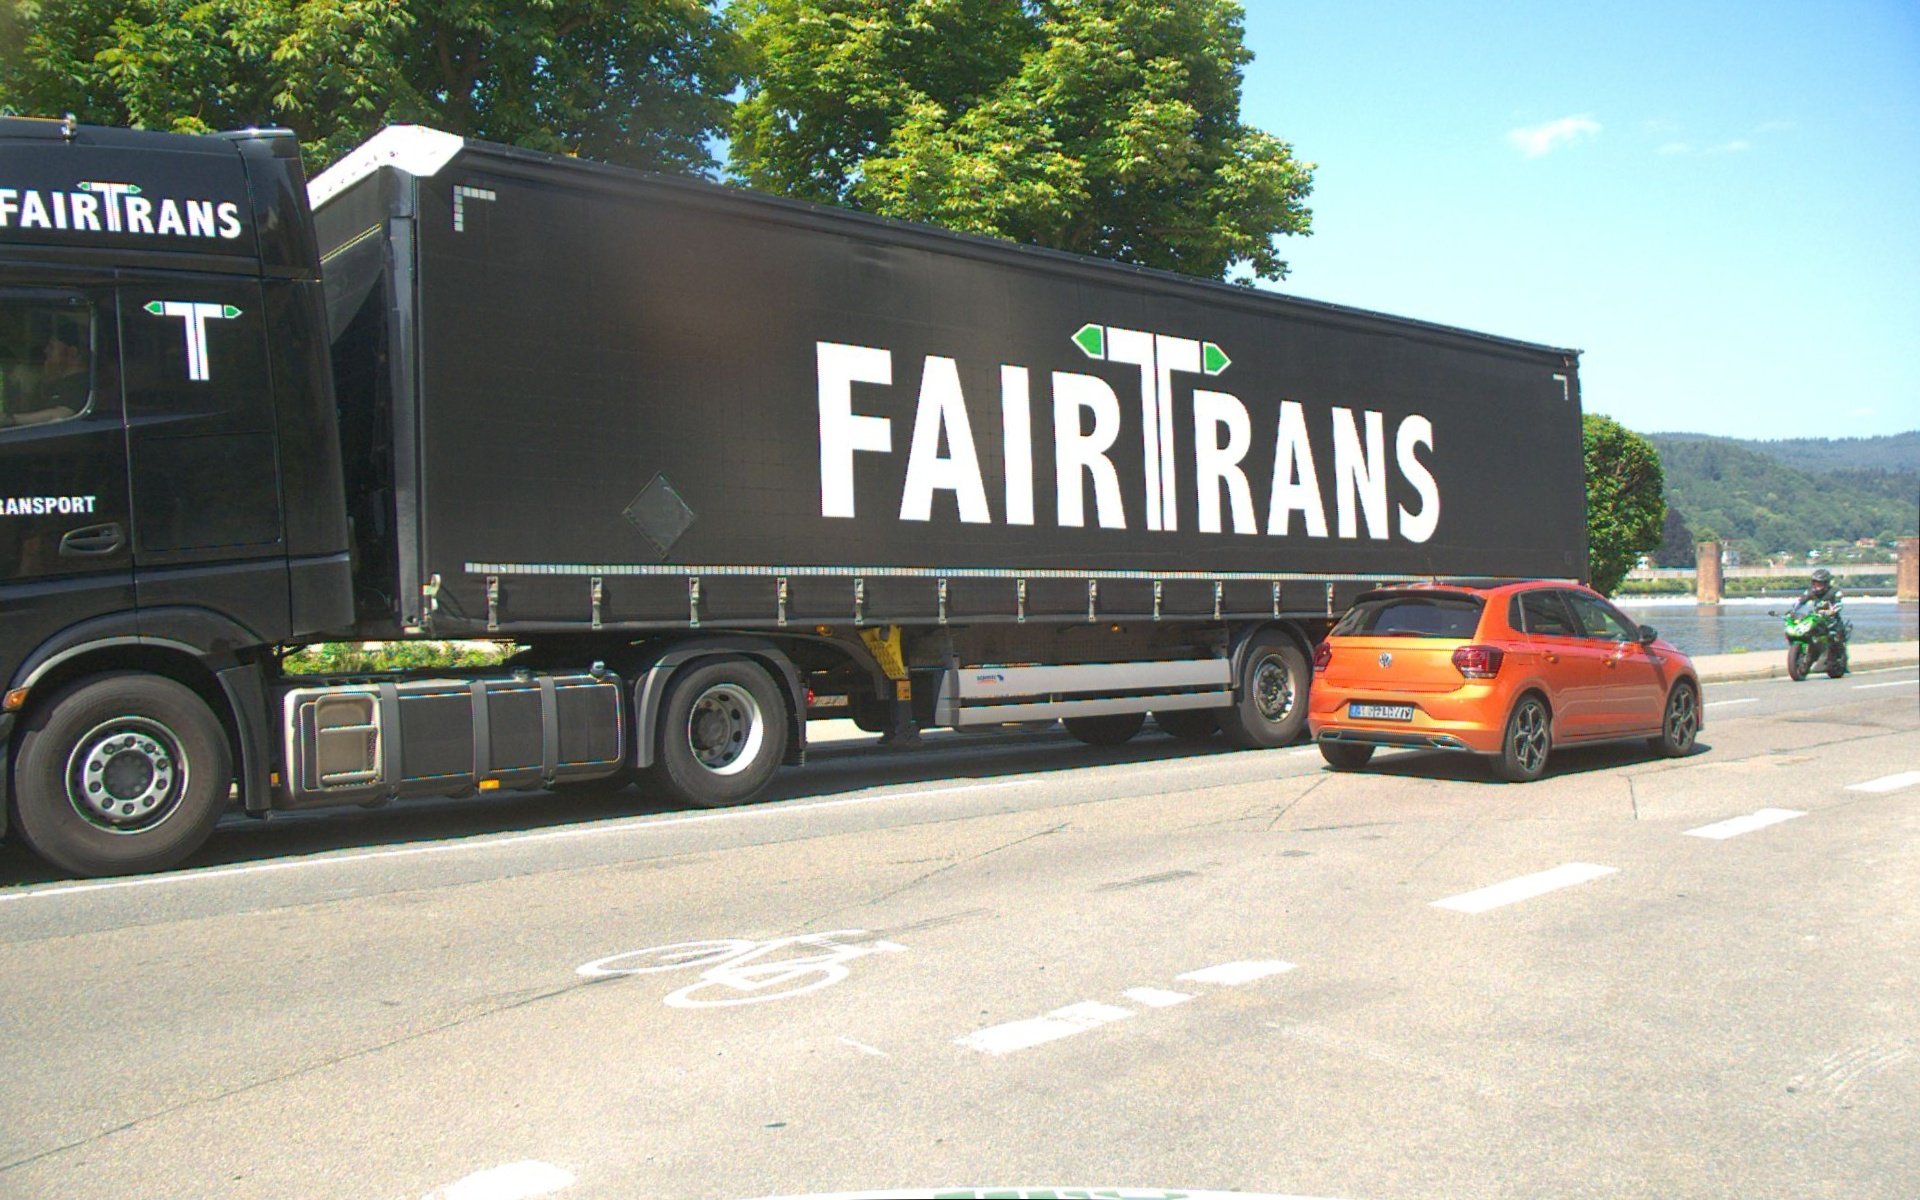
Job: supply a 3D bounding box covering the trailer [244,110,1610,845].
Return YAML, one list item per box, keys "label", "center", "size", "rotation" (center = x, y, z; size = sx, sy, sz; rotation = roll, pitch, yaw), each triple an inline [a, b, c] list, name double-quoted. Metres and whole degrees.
- label: "trailer"
  center: [1.089, -0.760, 14.942]
  size: [13.648, 4.176, 2.800]
  rotation: [-1, -2, -41]

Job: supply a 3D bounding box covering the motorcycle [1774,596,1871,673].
- label: "motorcycle"
  center: [13.543, 0.528, 25.935]
  size: [2.075, 1.143, 0.625]
  rotation: [-1, -2, -42]

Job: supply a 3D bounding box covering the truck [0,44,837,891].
- label: "truck"
  center: [-4.021, -0.644, 10.493]
  size: [5.878, 4.142, 2.798]
  rotation: [-1, -2, -41]

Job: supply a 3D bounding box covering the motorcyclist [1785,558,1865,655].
- label: "motorcyclist"
  center: [13.586, 0.102, 25.984]
  size: [0.983, 1.486, 0.769]
  rotation: [-1, -2, -41]

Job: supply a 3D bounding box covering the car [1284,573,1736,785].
- label: "car"
  center: [4.492, 0.521, 13.217]
  size: [3.984, 1.430, 1.704]
  rotation: [-1, 0, -42]
